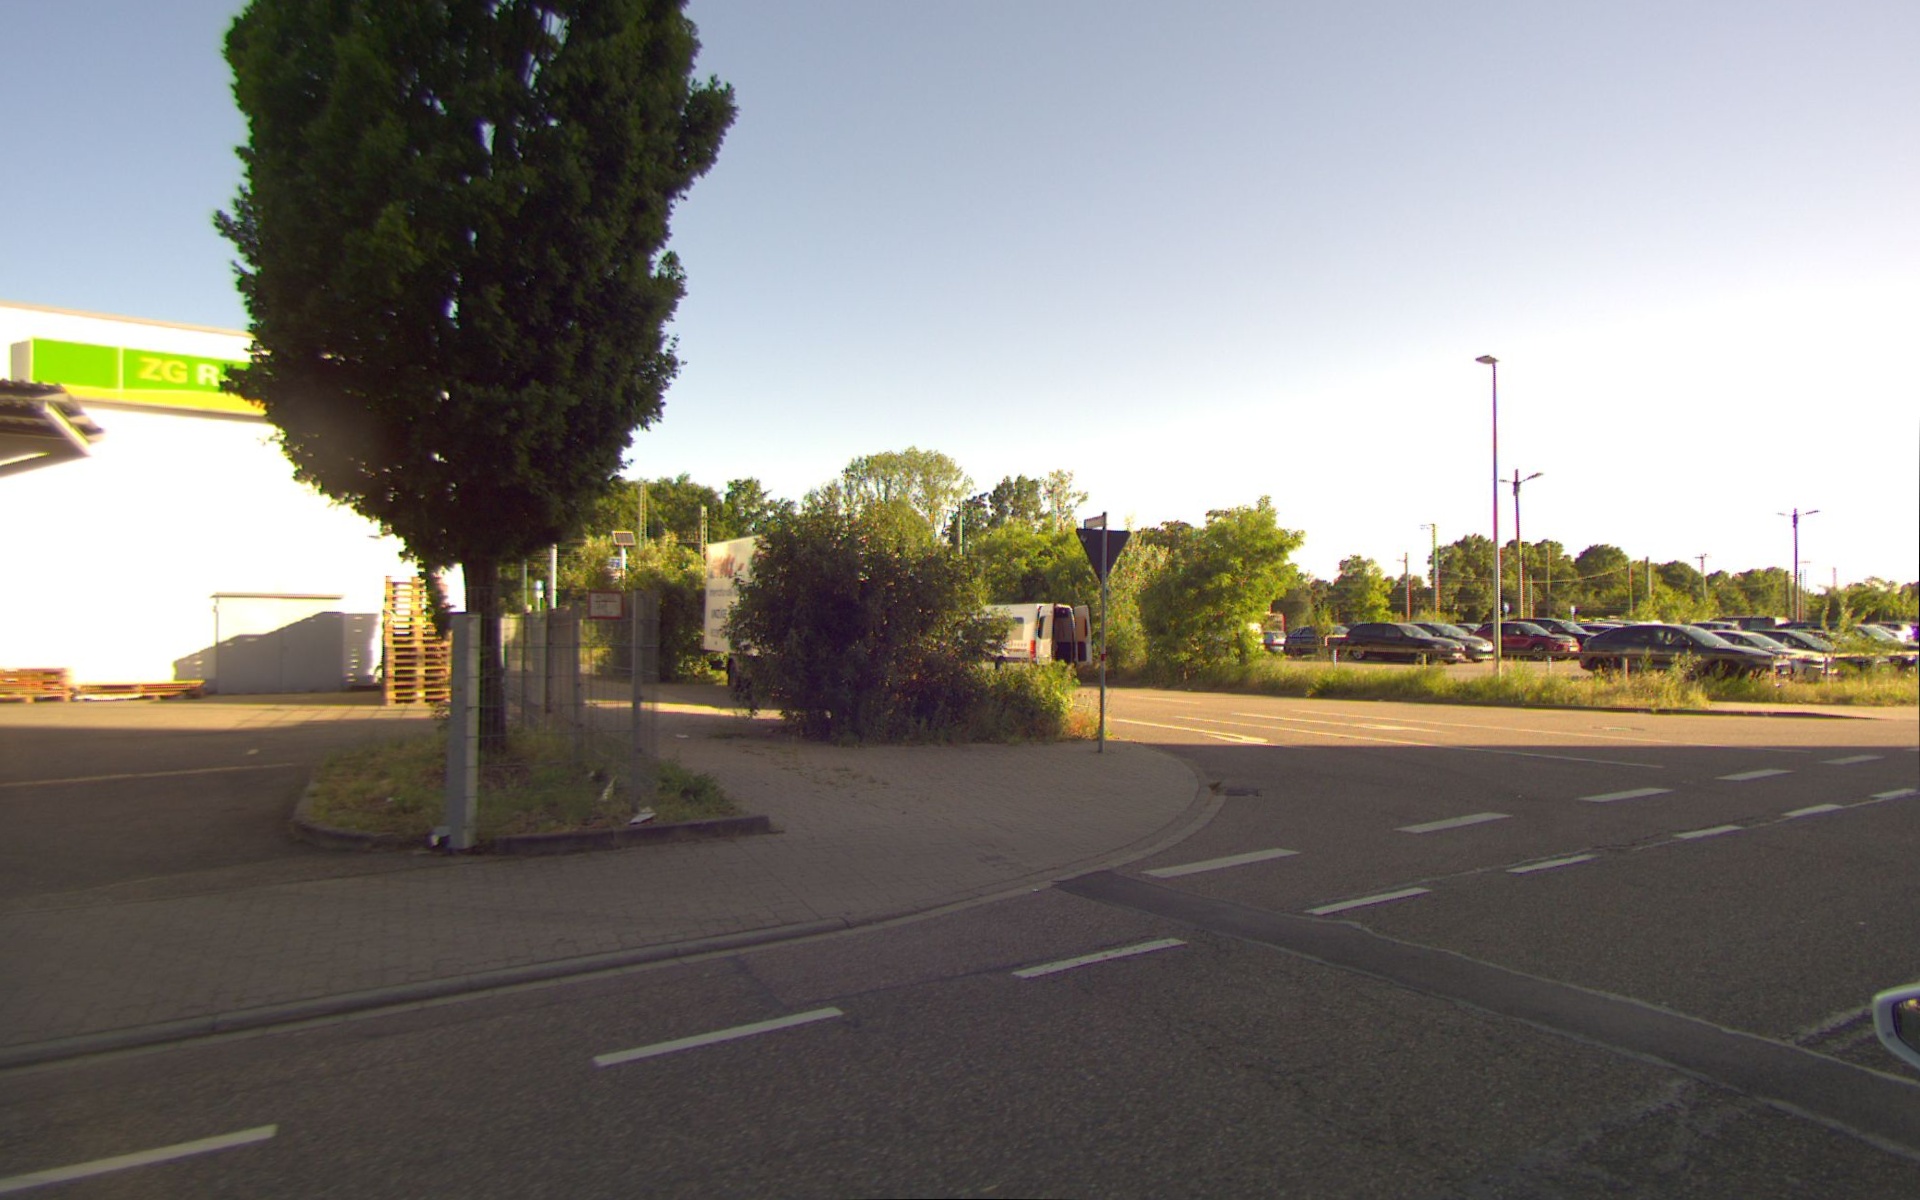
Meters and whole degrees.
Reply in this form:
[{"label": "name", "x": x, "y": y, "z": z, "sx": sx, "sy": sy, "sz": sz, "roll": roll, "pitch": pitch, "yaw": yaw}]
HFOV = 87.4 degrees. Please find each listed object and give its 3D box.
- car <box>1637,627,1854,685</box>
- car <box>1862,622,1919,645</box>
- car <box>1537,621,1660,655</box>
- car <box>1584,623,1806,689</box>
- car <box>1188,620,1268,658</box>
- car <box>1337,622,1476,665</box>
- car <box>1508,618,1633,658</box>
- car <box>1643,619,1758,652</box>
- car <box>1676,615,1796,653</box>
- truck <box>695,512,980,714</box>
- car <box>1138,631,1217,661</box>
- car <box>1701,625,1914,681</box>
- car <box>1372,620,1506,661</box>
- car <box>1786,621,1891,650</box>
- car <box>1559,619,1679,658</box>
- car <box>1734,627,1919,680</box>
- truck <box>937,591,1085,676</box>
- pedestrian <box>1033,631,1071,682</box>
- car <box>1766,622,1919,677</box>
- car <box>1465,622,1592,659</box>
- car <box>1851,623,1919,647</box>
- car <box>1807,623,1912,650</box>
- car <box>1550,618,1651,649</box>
[{"label": "car", "x": 22.042, "y": 1.513, "z": 28.388, "sx": 2.023, "sy": 1.481, "sz": 4.410, "roll": 1, "pitch": -1, "yaw": -28}, {"label": "car", "x": 62.313, "y": 2.172, "z": 65.915, "sx": 1.856, "sy": 1.438, "sz": 4.301, "roll": 0, "pitch": 0, "yaw": -30}, {"label": "car", "x": 27.990, "y": 1.643, "z": 44.135, "sx": 2.027, "sy": 1.416, "sz": 4.136, "roll": 1, "pitch": -1, "yaw": -33}, {"label": "car", "x": 19.558, "y": 1.425, "z": 26.951, "sx": 2.023, "sy": 1.601, "sz": 4.410, "roll": 1, "pitch": -1, "yaw": -28}, {"label": "car", "x": 14.476, "y": 2.080, "z": 54.448, "sx": 1.842, "sy": 1.944, "sz": 3.983, "roll": 1, "pitch": -1, "yaw": -33}, {"label": "car", "x": 16.537, "y": 1.563, "z": 37.404, "sx": 2.027, "sy": 1.484, "sz": 4.377, "roll": 1, "pitch": -1, "yaw": -33}, {"label": "car", "x": 25.953, "y": 1.568, "z": 42.831, "sx": 2.027, "sy": 1.599, "sz": 4.136, "roll": 1, "pitch": -1, "yaw": -33}, {"label": "car", "x": 37.650, "y": 1.782, "z": 51.180, "sx": 1.834, "sy": 1.566, "sz": 4.348, "roll": 0, "pitch": 0, "yaw": -29}, {"label": "car", "x": 39.972, "y": 1.700, "z": 51.845, "sx": 1.834, "sy": 1.829, "sz": 4.556, "roll": 0, "pitch": 0, "yaw": -29}, {"label": "truck", "x": -3.342, "y": 0.293, "z": 23.196, "sx": 2.744, "sy": 3.662, "sz": 10.049, "roll": 2, "pitch": -1, "yaw": -30}, {"label": "car", "x": 11.535, "y": 2.395, "z": 53.453, "sx": 1.842, "sy": 1.484, "sz": 3.983, "roll": 1, "pitch": -1, "yaw": -33}, {"label": "car", "x": 24.948, "y": 1.512, "z": 29.749, "sx": 2.023, "sy": 1.481, "sz": 4.410, "roll": 1, "pitch": -1, "yaw": -28}, {"label": "car", "x": 18.616, "y": 1.555, "z": 39.218, "sx": 2.027, "sy": 1.484, "sz": 4.377, "roll": 1, "pitch": -1, "yaw": -33}, {"label": "car", "x": 51.230, "y": 2.052, "z": 58.653, "sx": 1.855, "sy": 1.544, "sz": 4.303, "roll": 0, "pitch": 0, "yaw": -29}, {"label": "car", "x": 29.818, "y": 1.694, "z": 45.542, "sx": 1.945, "sy": 1.684, "sz": 4.137, "roll": 1, "pitch": -1, "yaw": -32}, {"label": "car", "x": 27.079, "y": 1.591, "z": 31.180, "sx": 2.023, "sy": 1.481, "sz": 4.410, "roll": 1, "pitch": -1, "yaw": -28}, {"label": "truck", "x": 1.713, "y": 1.223, "z": 37.001, "sx": 2.289, "sy": 2.844, "sz": 6.463, "roll": 1, "pitch": -2, "yaw": -31}, {"label": "pedestrian", "x": 3.099, "y": 1.894, "z": 33.810, "sx": 0.904, "sy": 1.661, "sz": 0.924, "roll": 1, "pitch": -1, "yaw": -29}, {"label": "car", "x": 29.480, "y": 1.573, "z": 32.909, "sx": 2.023, "sy": 1.692, "sz": 4.410, "roll": 1, "pitch": -1, "yaw": -28}, {"label": "car", "x": 23.471, "y": 1.643, "z": 41.590, "sx": 2.027, "sy": 1.416, "sz": 4.136, "roll": 1, "pitch": -1, "yaw": -33}, {"label": "car", "x": 60.033, "y": 2.238, "z": 64.167, "sx": 1.856, "sy": 1.438, "sz": 4.301, "roll": 0, "pitch": 0, "yaw": -30}, {"label": "car", "x": 53.505, "y": 2.144, "z": 59.828, "sx": 1.855, "sy": 1.412, "sz": 4.303, "roll": 0, "pitch": 0, "yaw": -29}, {"label": "car", "x": 35.147, "y": 1.794, "z": 55.240, "sx": 1.834, "sy": 1.566, "sz": 4.348, "roll": 0, "pitch": 0, "yaw": -29}]
